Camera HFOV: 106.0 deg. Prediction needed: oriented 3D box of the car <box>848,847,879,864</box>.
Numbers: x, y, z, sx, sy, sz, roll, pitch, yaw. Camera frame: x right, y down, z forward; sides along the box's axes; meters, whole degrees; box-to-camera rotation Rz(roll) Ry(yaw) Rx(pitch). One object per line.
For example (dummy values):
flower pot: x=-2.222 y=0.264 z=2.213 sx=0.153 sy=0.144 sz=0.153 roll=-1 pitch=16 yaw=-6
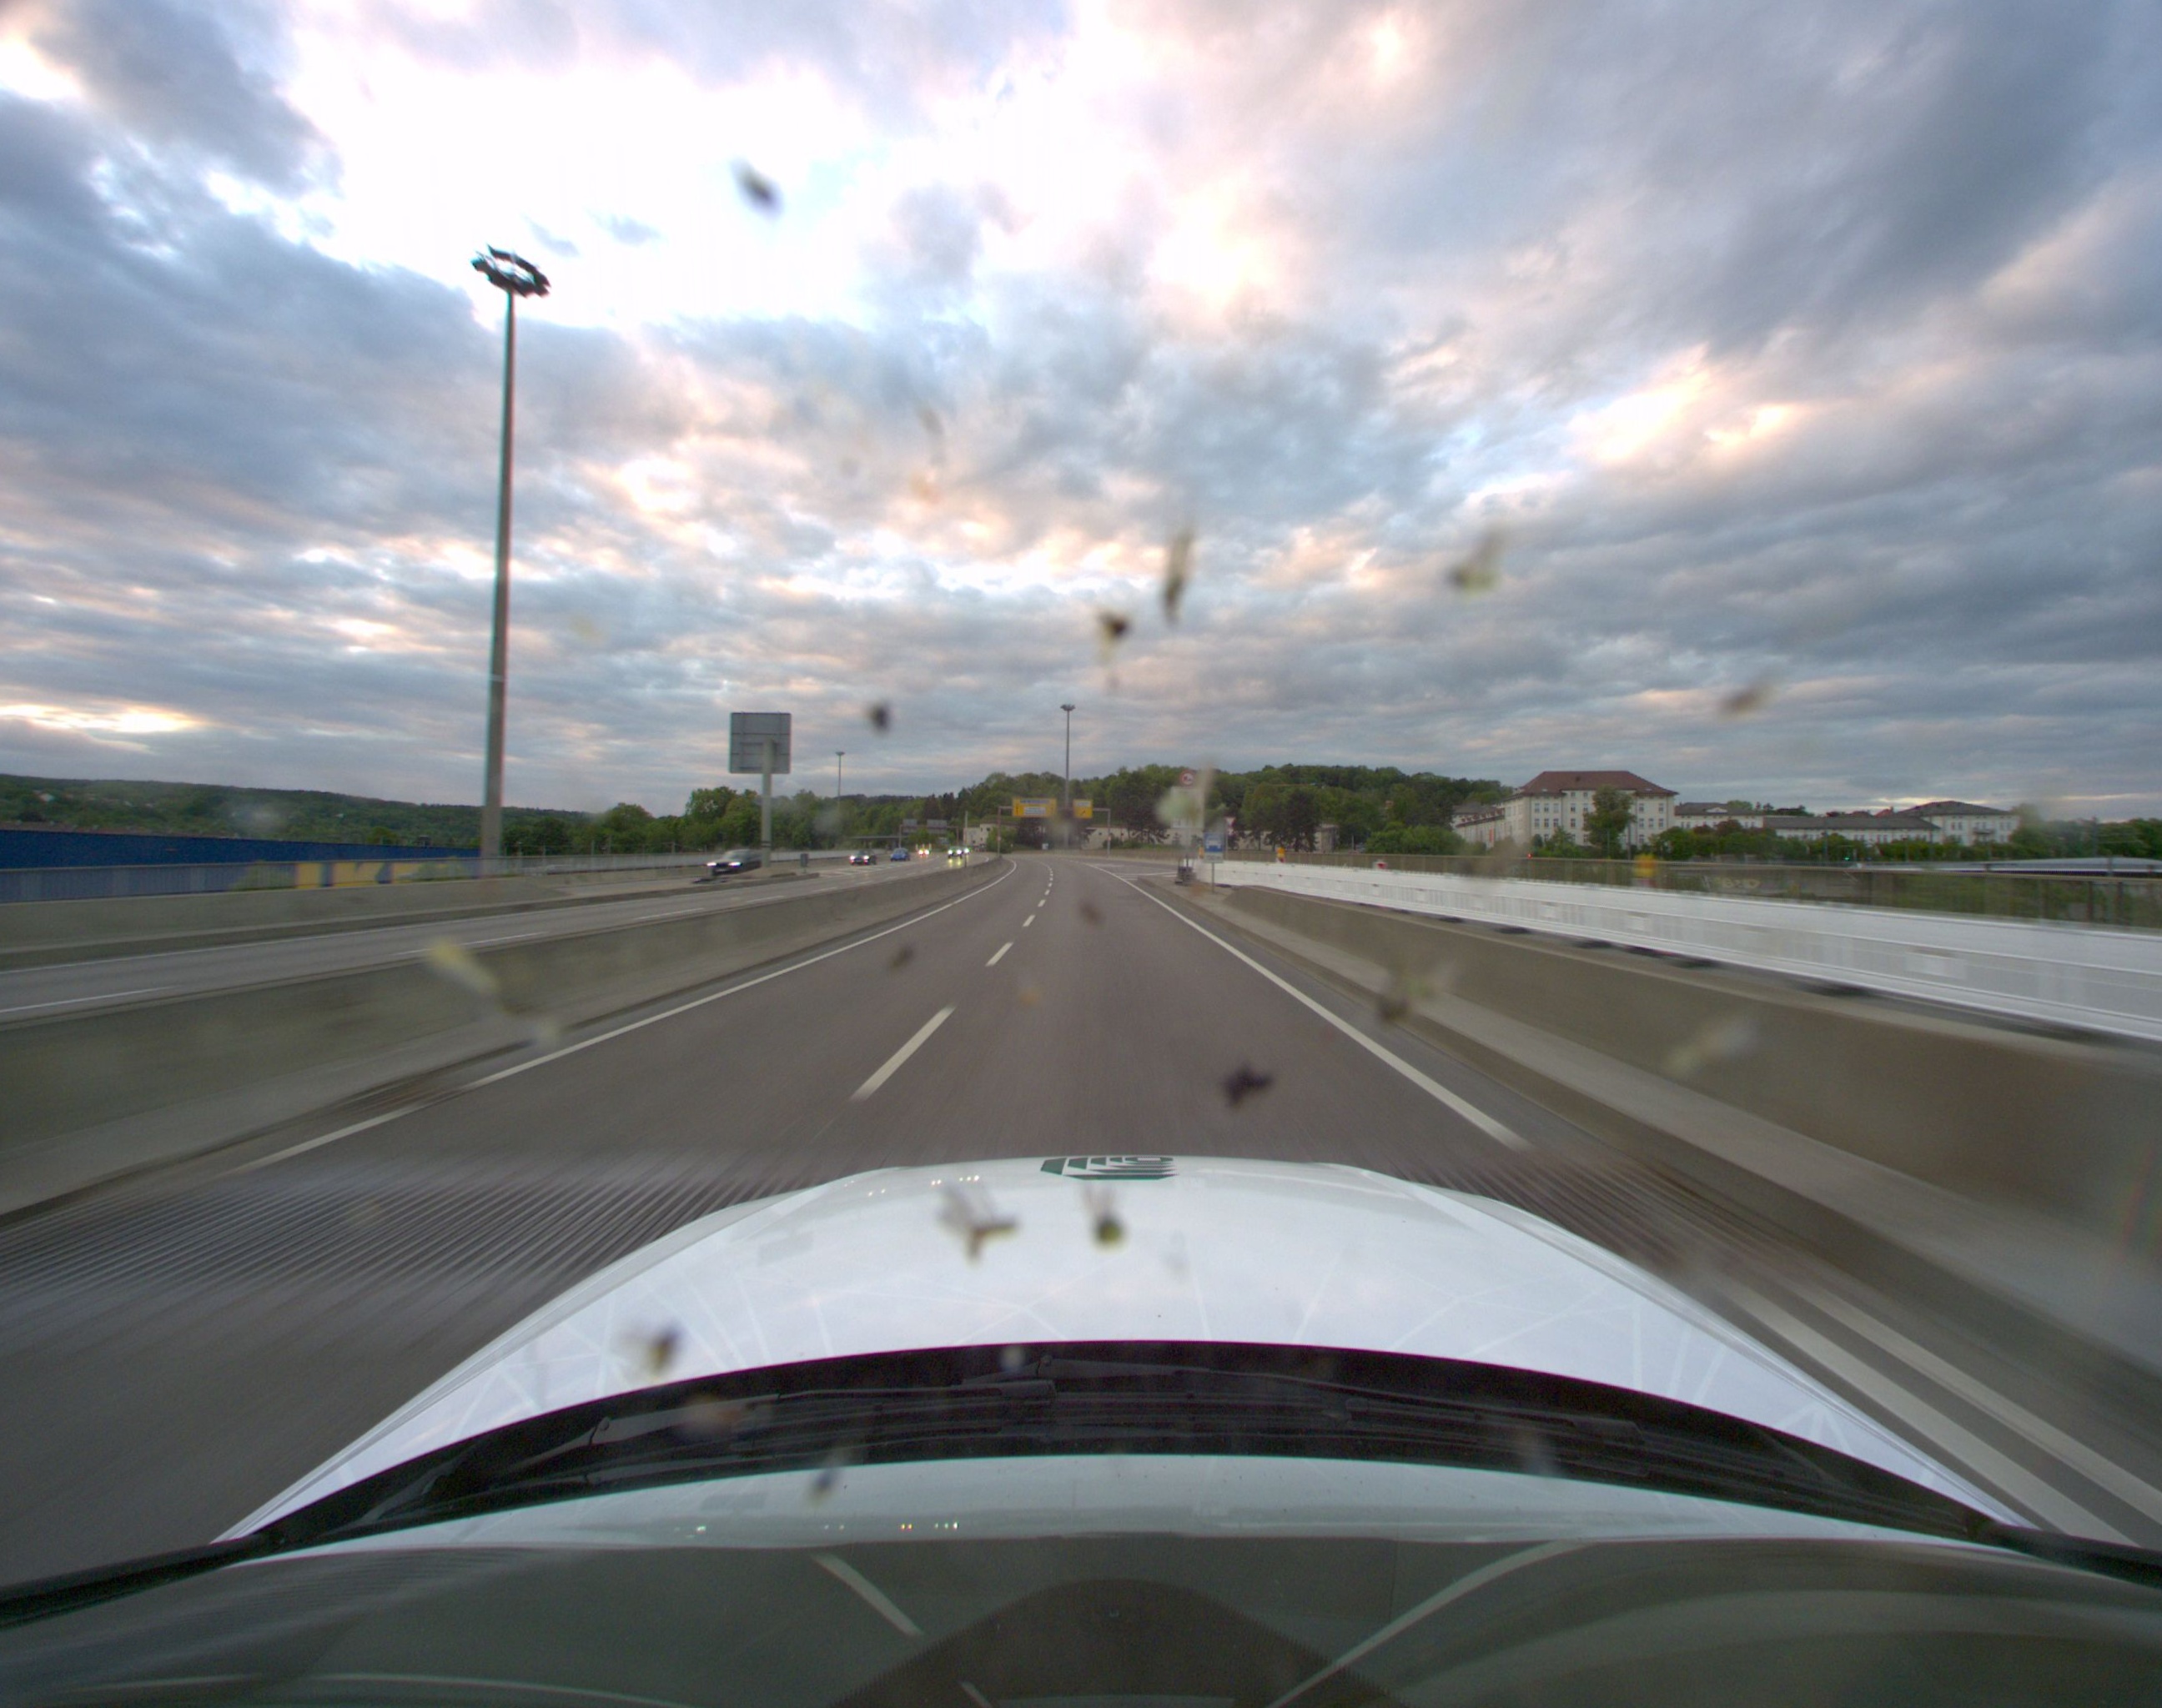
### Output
car: x=-19.905 y=0.127 z=74.625 sx=1.790 sy=1.486 sz=3.840 roll=1 pitch=0 yaw=0

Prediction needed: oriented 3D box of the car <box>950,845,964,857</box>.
car: x=-16.163 y=-0.393 z=106.273 sx=1.709 sy=1.494 sz=4.071 roll=1 pitch=0 yaw=-7

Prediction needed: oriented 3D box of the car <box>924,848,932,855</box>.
car: x=-32.676 y=-0.567 z=173.921 sx=1.732 sy=1.476 sz=4.206 roll=1 pitch=0 yaw=-12

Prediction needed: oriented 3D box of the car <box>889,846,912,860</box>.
car: x=-20.657 y=-0.159 z=93.188 sx=1.893 sy=1.596 sz=4.158 roll=0 pitch=1 yaw=-3

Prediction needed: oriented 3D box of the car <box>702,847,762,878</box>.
car: x=-20.371 y=0.470 z=47.730 sx=1.630 sy=1.717 sz=4.002 roll=1 pitch=0 yaw=2

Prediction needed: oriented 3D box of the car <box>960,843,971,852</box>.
car: x=-21.331 y=-1.188 z=150.084 sx=1.812 sy=1.534 sz=4.529 roll=1 pitch=0 yaw=-11

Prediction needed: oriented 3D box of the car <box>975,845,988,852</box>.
car: x=-23.839 y=-1.271 z=194.411 sx=2.311 sy=1.764 sz=4.236 roll=1 pitch=0 yaw=-18
